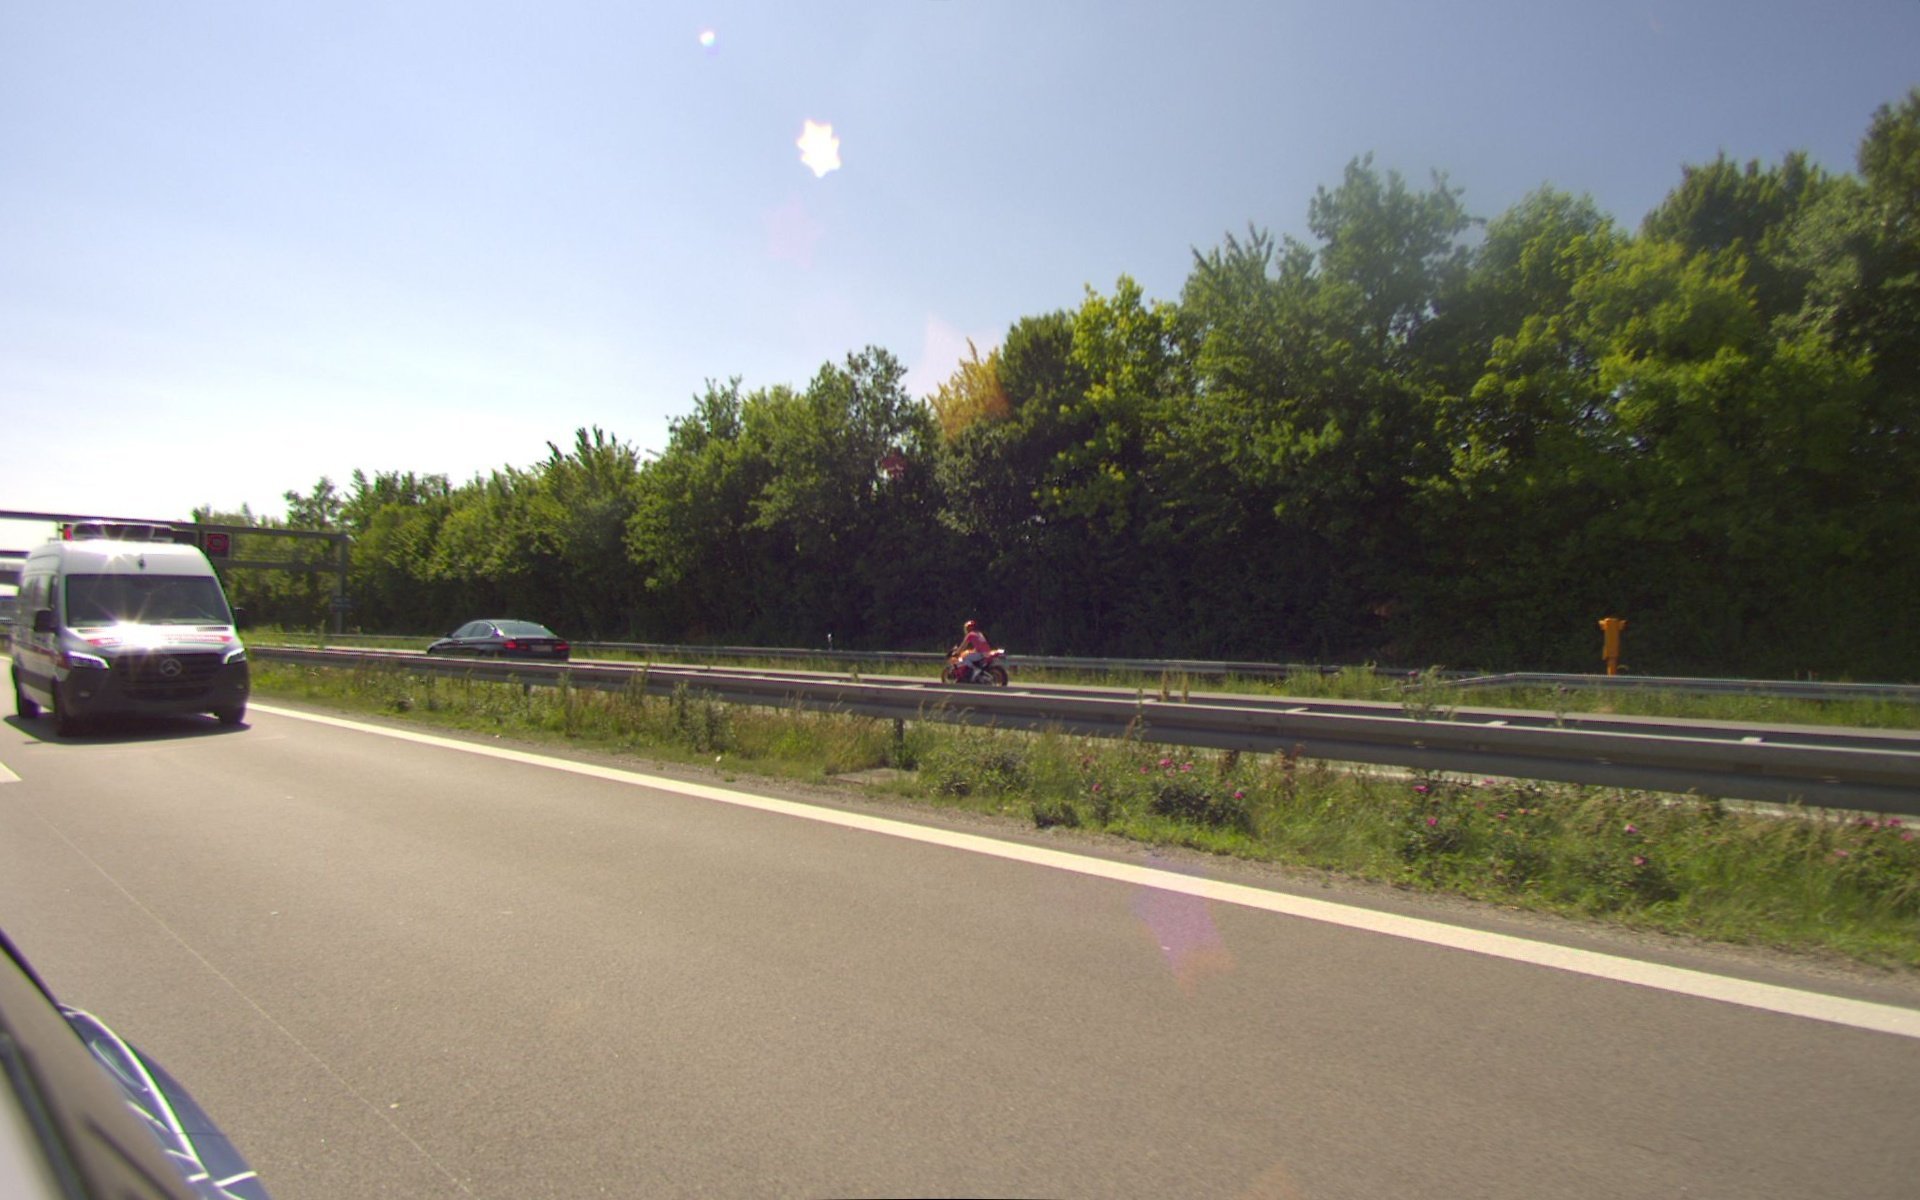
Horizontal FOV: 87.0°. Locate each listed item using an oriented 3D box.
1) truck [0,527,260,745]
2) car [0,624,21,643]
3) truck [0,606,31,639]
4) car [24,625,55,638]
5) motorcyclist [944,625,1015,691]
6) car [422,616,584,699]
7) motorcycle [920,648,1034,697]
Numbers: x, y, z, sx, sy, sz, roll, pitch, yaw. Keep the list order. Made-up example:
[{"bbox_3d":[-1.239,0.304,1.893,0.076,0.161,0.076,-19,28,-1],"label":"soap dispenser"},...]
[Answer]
[{"bbox_3d":[-12.438,0.482,14.817,6.687,2.561,1.973,-1,-1,41],"label":"truck"},{"bbox_3d":[-81.346,2.831,85.849,4.589,1.610,1.973,-1,-2,40],"label":"car"},{"bbox_3d":[-100.103,2.350,106.254,8.052,3.330,2.751,0,-1,40],"label":"truck"},{"bbox_3d":[-105.327,3.589,115.786,5.062,1.476,1.883,-1,-2,40],"label":"car"},{"bbox_3d":[0.438,1.314,23.242,1.356,1.455,0.931,-1,-2,40],"label":"motorcyclist"},{"bbox_3d":[-11.470,1.365,25.215,5.015,1.896,1.673,-1,-2,40],"label":"car"},{"bbox_3d":[0.362,1.643,23.288,2.653,1.025,0.925,-1,-2,41],"label":"motorcycle"}]
